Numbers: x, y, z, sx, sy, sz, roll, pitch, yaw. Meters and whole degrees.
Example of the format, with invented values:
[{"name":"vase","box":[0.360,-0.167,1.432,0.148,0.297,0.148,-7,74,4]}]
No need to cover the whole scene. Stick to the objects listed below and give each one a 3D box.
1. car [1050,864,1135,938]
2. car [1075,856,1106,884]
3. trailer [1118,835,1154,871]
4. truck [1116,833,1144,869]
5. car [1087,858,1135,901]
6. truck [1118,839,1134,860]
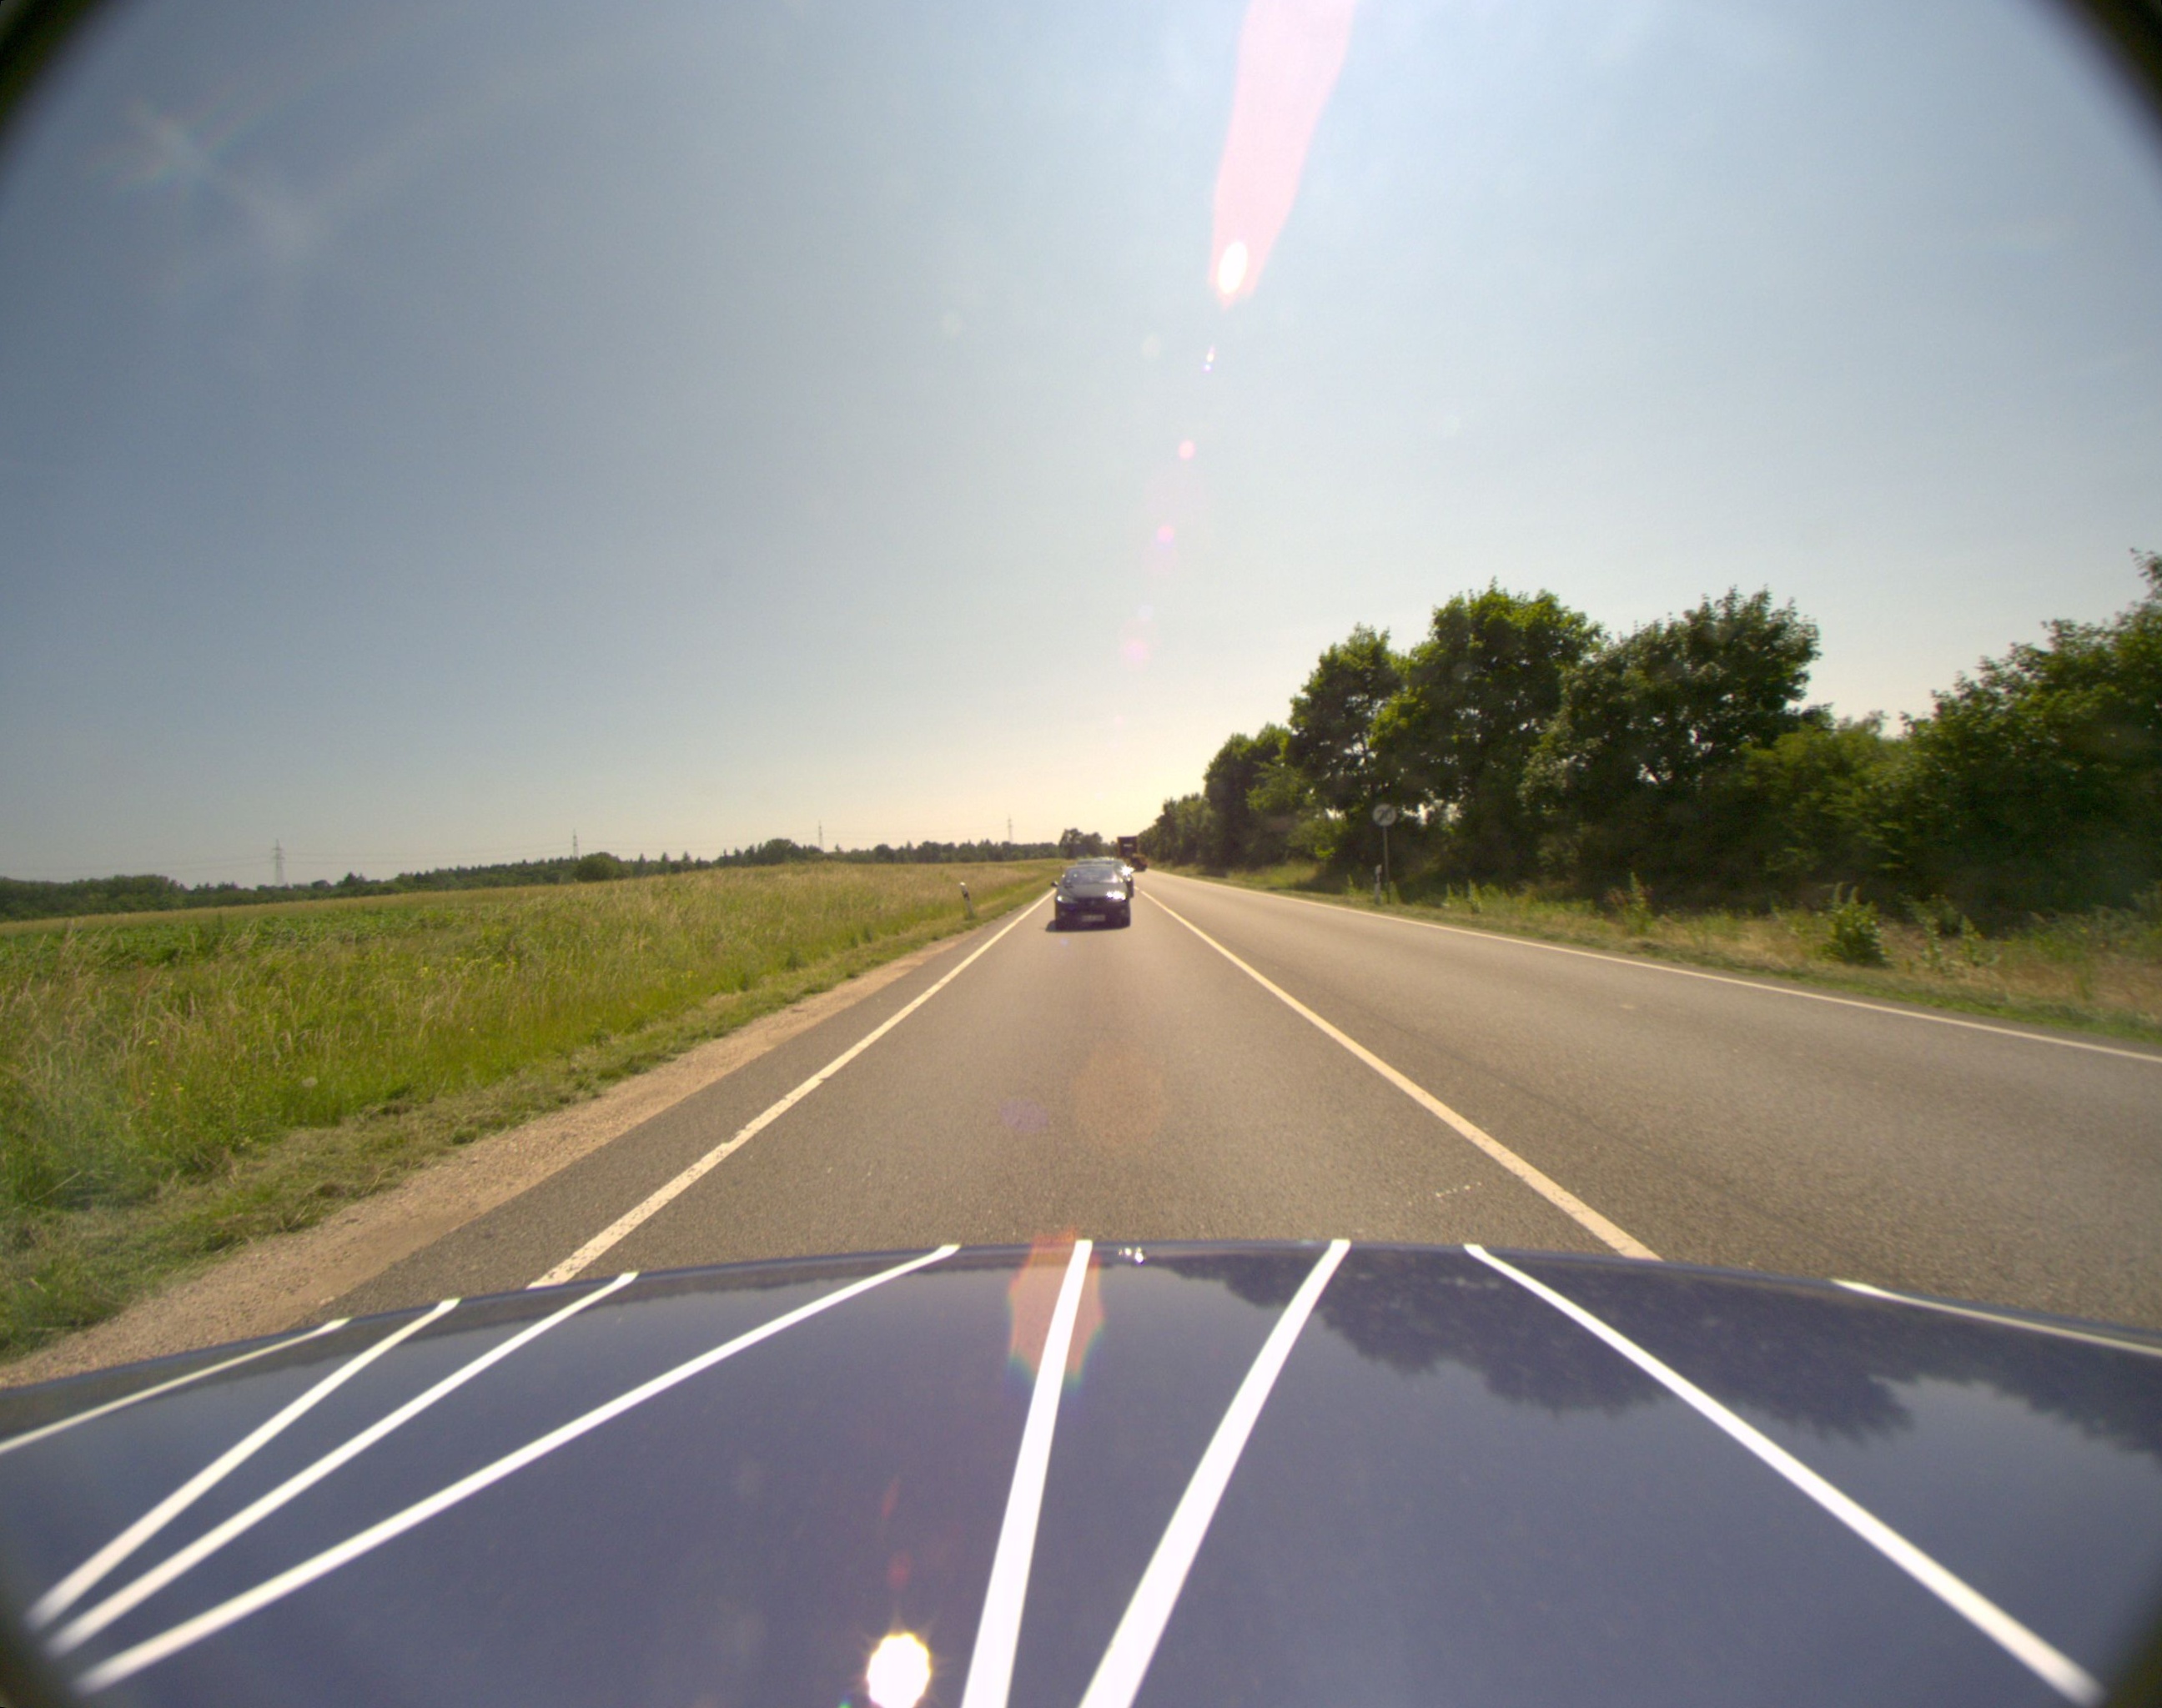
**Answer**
[{"name":"car","box":[0.280,0.983,17.387,1.665,1.389,3.731,-3,0,1]},{"name":"car","box":[0.554,0.897,44.140,1.665,1.449,4.173,-3,0,1]},{"name":"trailer","box":[5.711,-0.107,81.503,2.669,3.440,14.948,-2,0,0]},{"name":"truck","box":[5.692,-0.343,88.926,2.709,3.908,5.952,-2,0,0]},{"name":"car","box":[1.149,0.930,29.294,1.665,1.477,3.732,-3,0,2]},{"name":"truck","box":[8.268,-0.864,140.888,2.769,3.711,10.549,-3,0,3]}]
